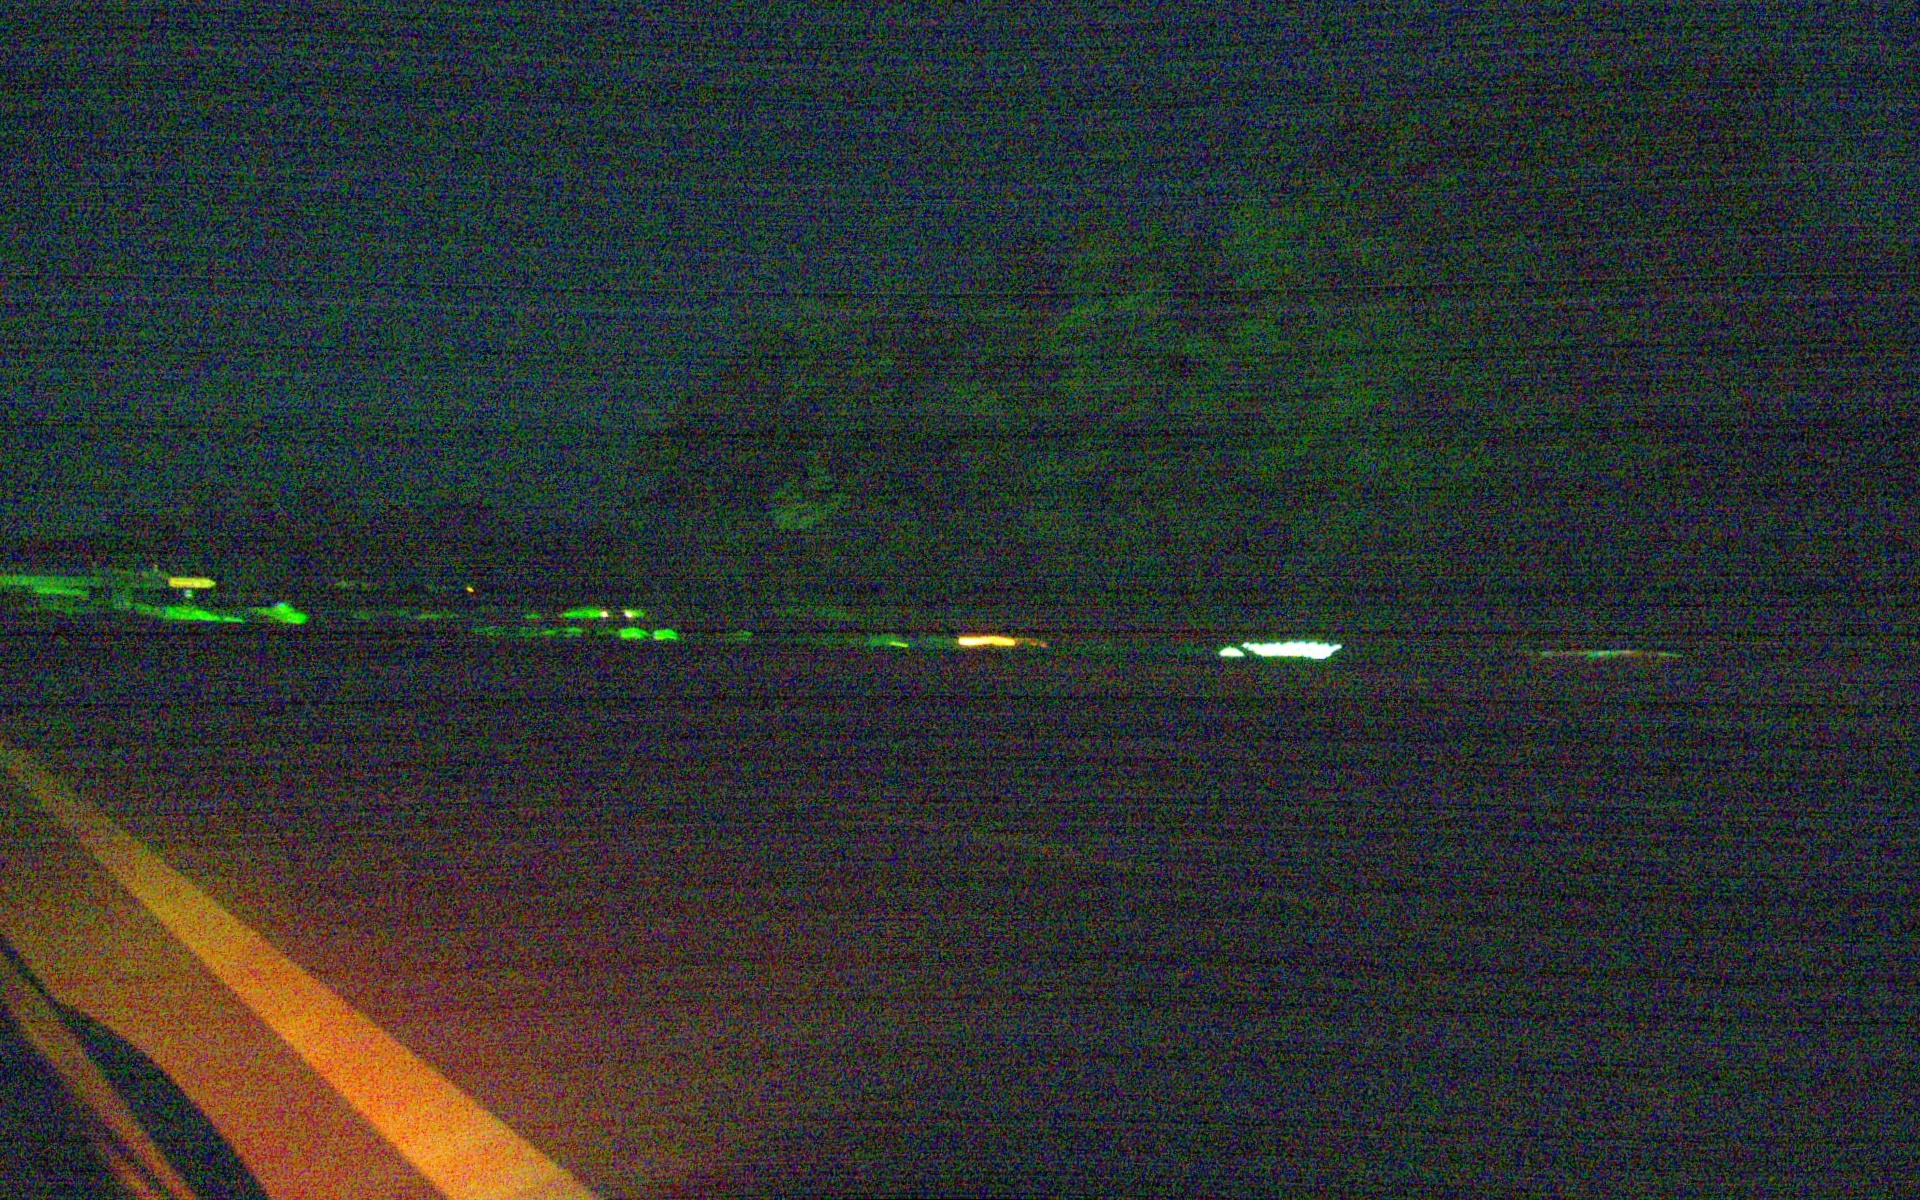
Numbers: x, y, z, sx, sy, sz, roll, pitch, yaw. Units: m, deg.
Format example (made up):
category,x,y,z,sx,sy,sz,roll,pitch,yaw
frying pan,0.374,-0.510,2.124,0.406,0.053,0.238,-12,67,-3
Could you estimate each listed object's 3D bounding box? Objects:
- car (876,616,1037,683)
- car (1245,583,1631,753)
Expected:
category,x,y,z,sx,sy,sz,roll,pitch,yaw
car,-0.136,1.248,26.748,3.998,1.530,1.973,0,0,41
car,6.642,0.829,14.376,4.606,2.029,1.973,-1,0,41
